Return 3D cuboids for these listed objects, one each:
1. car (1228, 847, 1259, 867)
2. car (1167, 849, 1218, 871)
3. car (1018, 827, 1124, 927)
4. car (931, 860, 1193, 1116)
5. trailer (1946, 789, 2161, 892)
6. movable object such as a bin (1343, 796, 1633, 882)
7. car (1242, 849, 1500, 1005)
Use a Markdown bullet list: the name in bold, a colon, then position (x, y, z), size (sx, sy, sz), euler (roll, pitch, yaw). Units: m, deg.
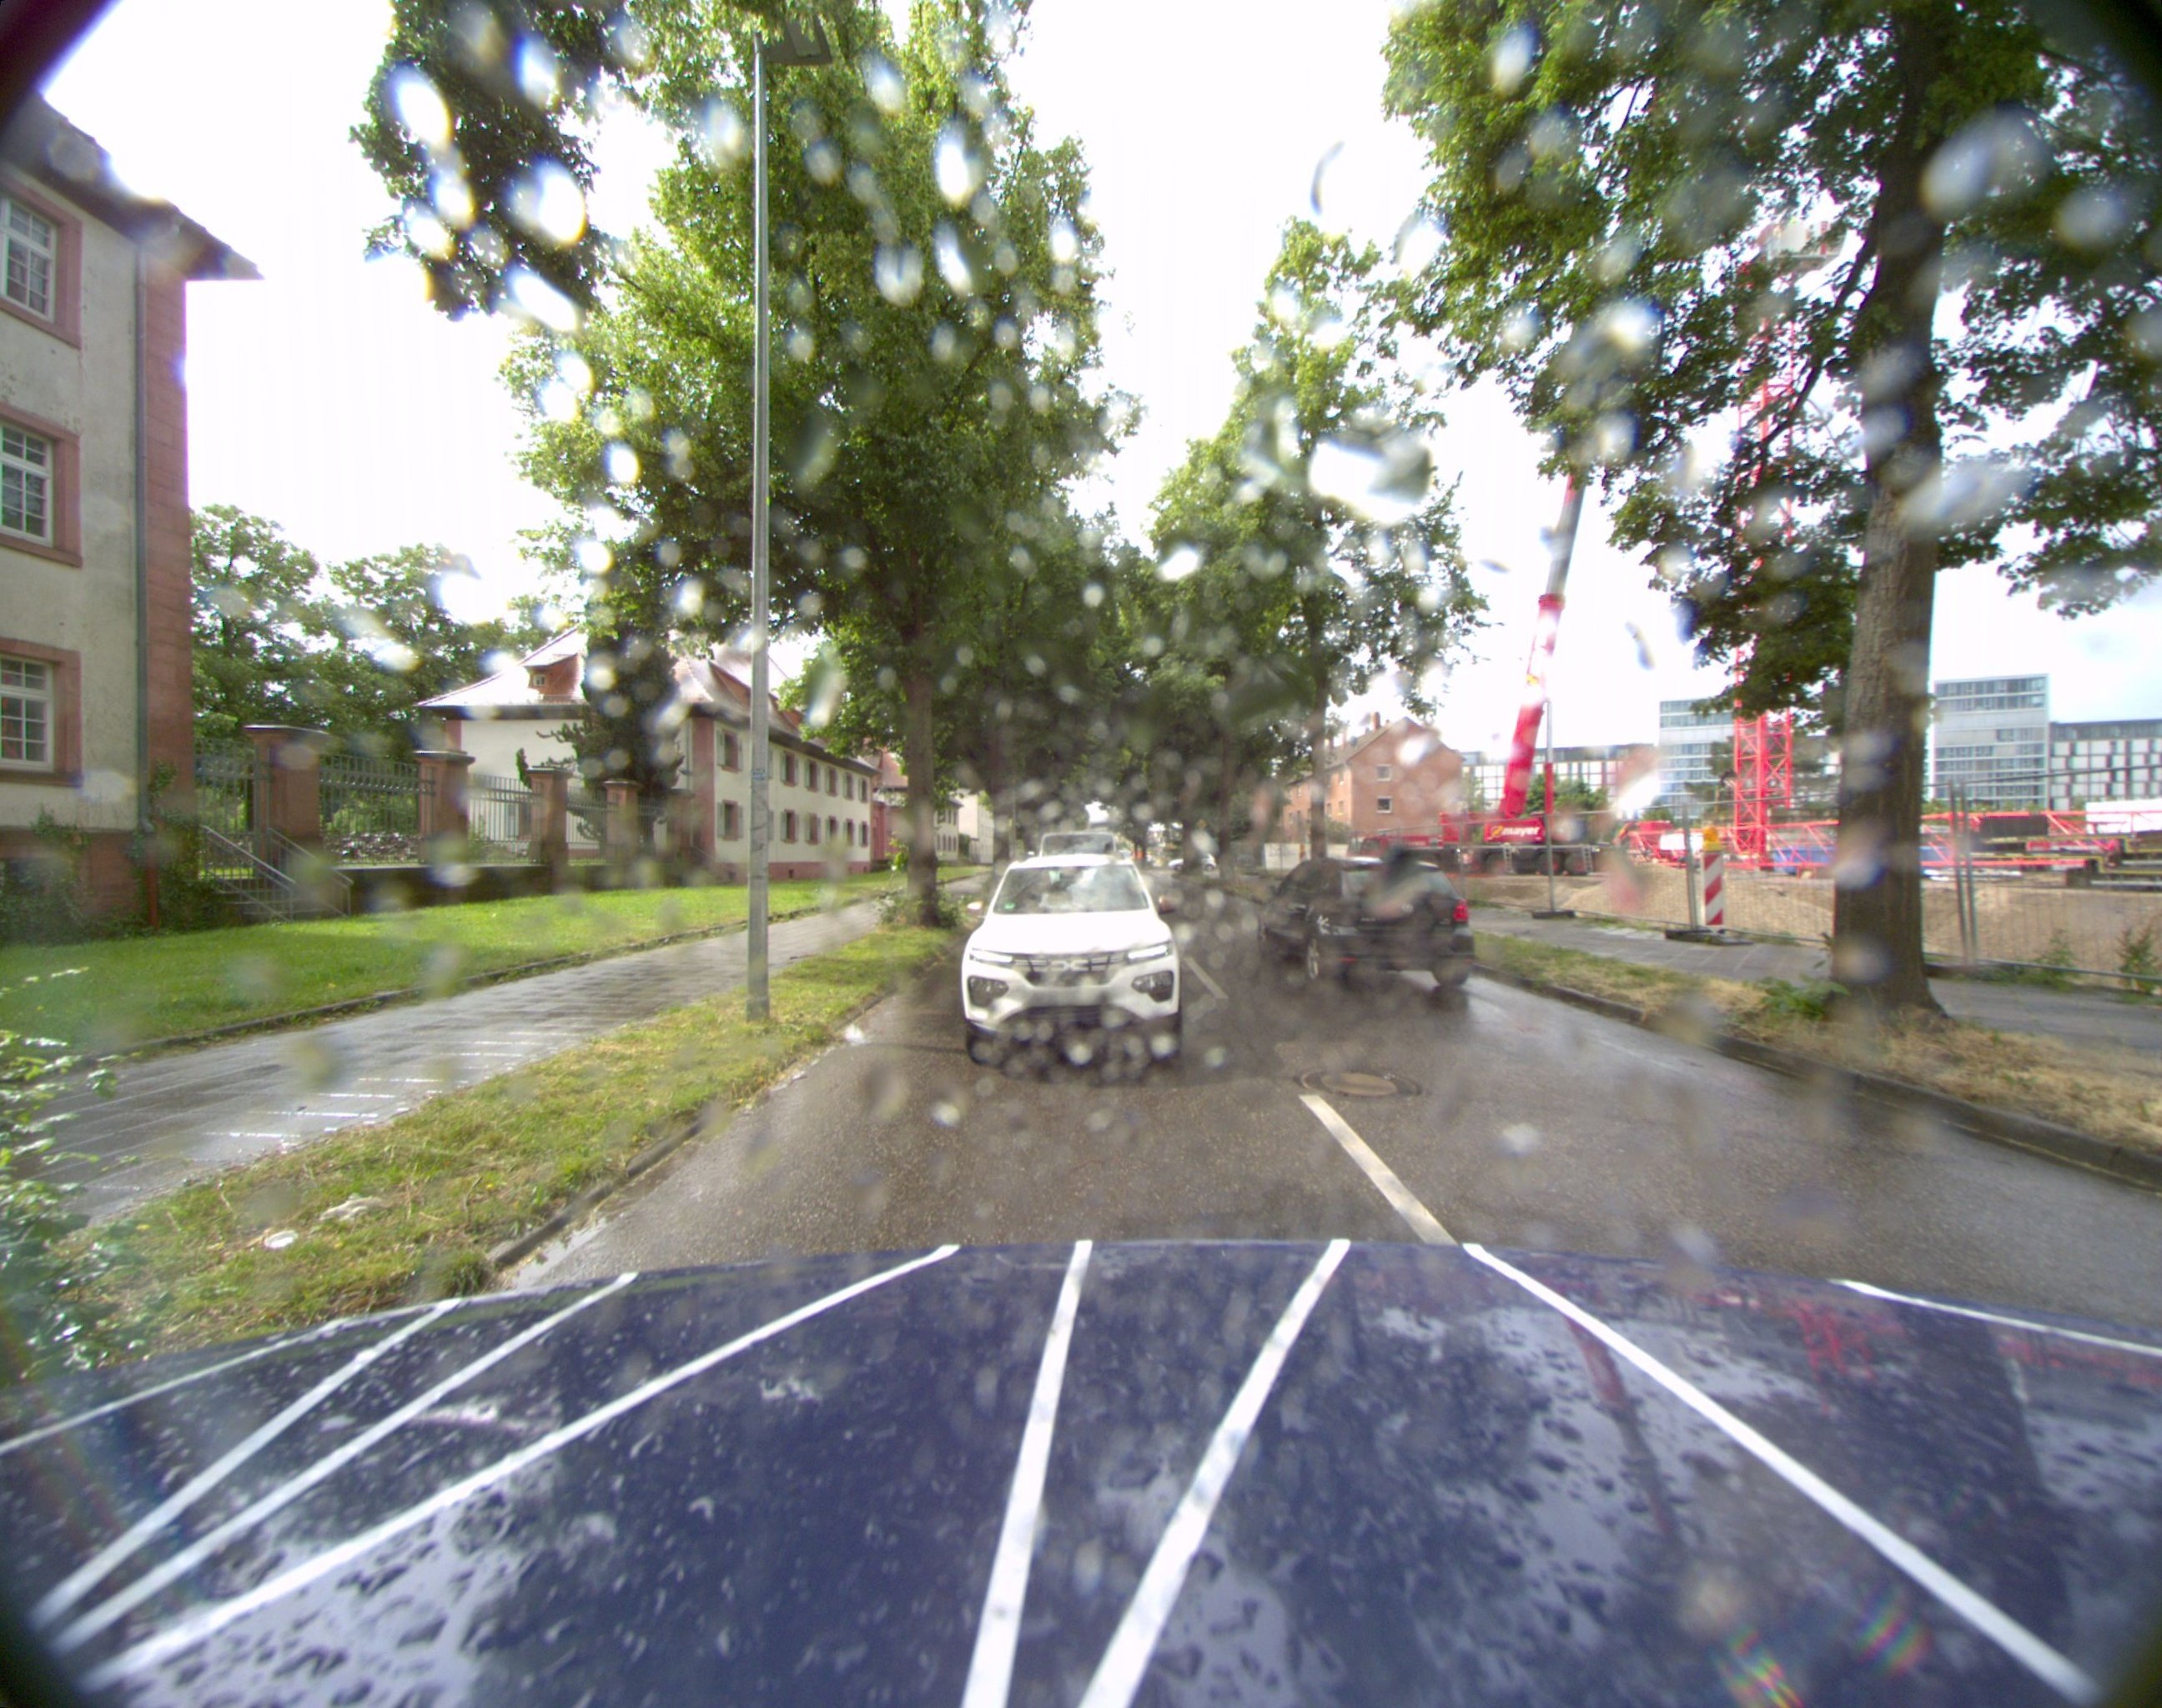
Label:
- **car**: position (14.128, 0.231, 66.246), size (1.693, 1.521, 3.999), euler (-2, 1, -1)
- **car**: position (9.005, 0.461, 61.601), size (3.870, 1.543, 1.697), euler (-2, 1, -1)
- **car**: position (-0.270, 0.428, 18.391), size (2.107, 1.990, 5.432), euler (-2, 1, -1)
- **car**: position (-0.085, 0.865, 6.793), size (1.608, 1.499, 4.000), euler (-2, 1, 1)
- **trailer**: position (35.722, -0.463, 22.908), size (2.968, 3.214, 14.307), euler (-4, 1, 0)
- **movable object such as a bin**: position (24.880, -0.925, 47.160), size (15.941, 4.532, 3.102), euler (-2, 1, 4)
- **car**: position (3.361, 0.731, 9.714), size (1.818, 1.532, 3.981), euler (1, 1, 1)
